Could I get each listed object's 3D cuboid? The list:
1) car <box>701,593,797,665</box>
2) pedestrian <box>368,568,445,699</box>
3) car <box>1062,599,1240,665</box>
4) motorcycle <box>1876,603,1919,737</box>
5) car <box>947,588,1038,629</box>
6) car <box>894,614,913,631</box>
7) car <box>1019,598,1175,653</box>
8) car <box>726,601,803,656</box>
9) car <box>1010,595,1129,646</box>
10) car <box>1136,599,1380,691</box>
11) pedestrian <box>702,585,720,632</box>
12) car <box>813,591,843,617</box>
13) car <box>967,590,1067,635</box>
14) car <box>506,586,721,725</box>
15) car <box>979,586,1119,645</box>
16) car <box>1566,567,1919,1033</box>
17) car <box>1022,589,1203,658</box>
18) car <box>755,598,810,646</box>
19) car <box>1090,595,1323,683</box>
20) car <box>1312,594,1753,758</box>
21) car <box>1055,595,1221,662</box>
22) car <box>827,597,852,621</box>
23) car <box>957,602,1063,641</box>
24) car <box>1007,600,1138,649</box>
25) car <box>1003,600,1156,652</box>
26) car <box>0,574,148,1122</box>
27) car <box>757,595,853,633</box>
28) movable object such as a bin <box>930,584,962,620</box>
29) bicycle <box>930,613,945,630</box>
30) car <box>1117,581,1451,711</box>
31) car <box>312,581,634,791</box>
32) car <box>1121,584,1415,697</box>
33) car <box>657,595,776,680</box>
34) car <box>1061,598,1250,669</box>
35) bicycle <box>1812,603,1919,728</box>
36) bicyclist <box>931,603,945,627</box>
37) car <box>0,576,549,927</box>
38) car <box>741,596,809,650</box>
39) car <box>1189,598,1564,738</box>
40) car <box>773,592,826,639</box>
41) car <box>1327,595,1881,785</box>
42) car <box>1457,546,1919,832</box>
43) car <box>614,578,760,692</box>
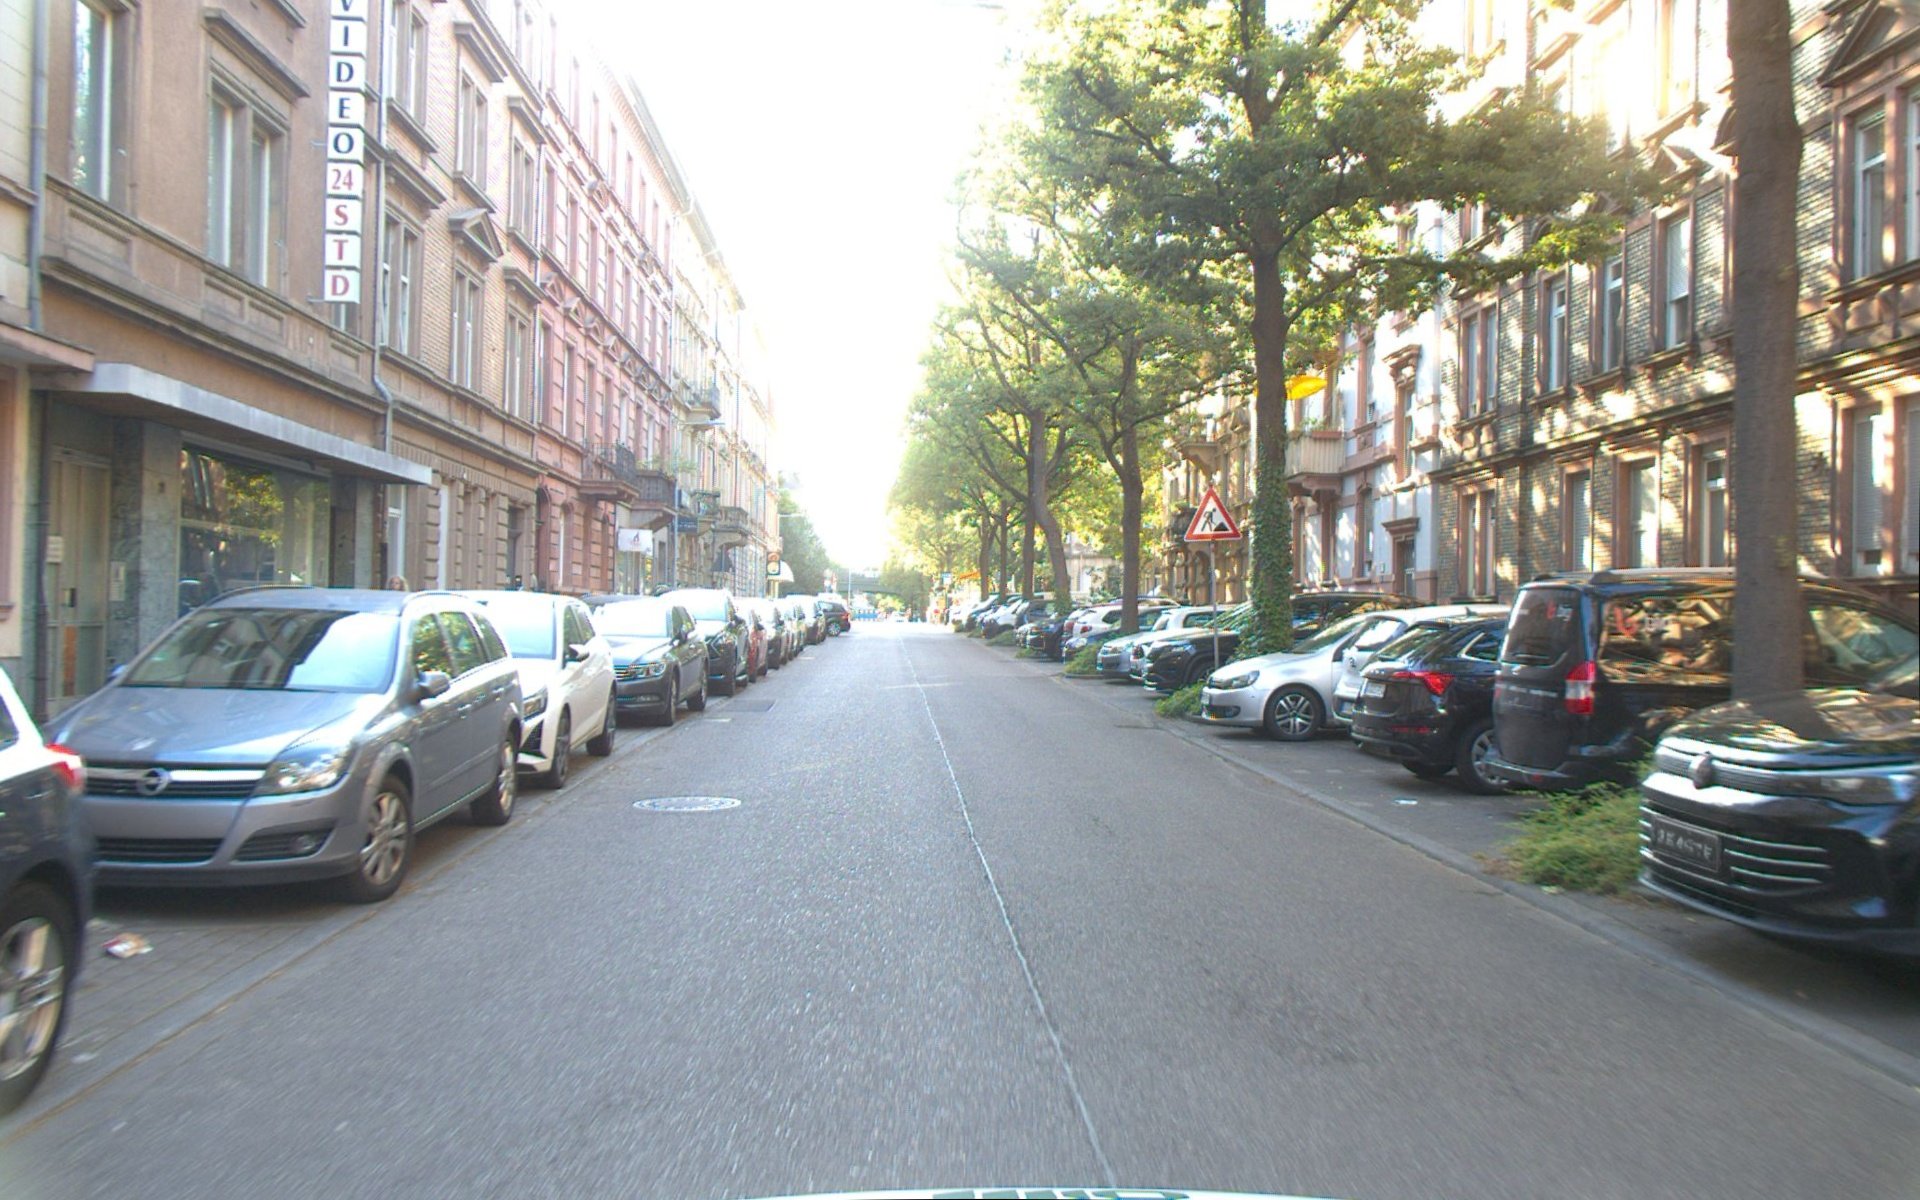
[{"bbox_3d":[-4.813,0.630,38.173,1.785,1.503,4.421,3,0,-3],"label":"car"},{"bbox_3d":[-7.220,0.425,21.630,0.682,1.660,1.017,1,0,-4],"label":"pedestrian"},{"bbox_3d":[4.512,0.756,39.420,3.910,1.488,1.780,1,0,-6],"label":"car"},{"bbox_3d":[10.026,0.711,16.387,0.747,1.342,1.882,1,0,-4],"label":"motorcycle"},{"bbox_3d":[1.767,0.475,91.890,4.874,2.132,2.104,1,0,-3],"label":"car"},{"bbox_3d":[-5.357,2.135,156.191,1.714,1.535,3.998,1,0,-3],"label":"car"},{"bbox_3d":[4.039,0.749,49.376,4.460,1.556,1.999,1,0,-1],"label":"car"},{"bbox_3d":[-5.043,0.713,43.041,1.671,1.346,4.099,1,0,-2],"label":"car"},{"bbox_3d":[3.756,0.687,56.988,3.811,1.678,1.722,1,0,-8],"label":"car"},{"bbox_3d":[5.294,0.781,29.692,4.017,1.495,1.800,1,0,-2],"label":"car"},{"bbox_3d":[-10.416,0.360,69.172,0.628,1.921,0.589,1,0,-18],"label":"pedestrian"},{"bbox_3d":[-7.842,0.214,98.409,1.730,1.462,4.297,1,0,-4],"label":"car"},{"bbox_3d":[2.712,0.576,79.144,4.525,2.049,1.998,1,0,-5],"label":"car"},{"bbox_3d":[-4.146,0.612,20.501,1.825,1.498,4.487,1,0,-2],"label":"car"},{"bbox_3d":[3.271,0.608,61.545,4.990,1.974,2.157,1,-4,-3],"label":"car"},{"bbox_3d":[5.456,0.654,7.249,4.825,1.661,2.076,-2,0,-6],"label":"car"},{"bbox_3d":[4.044,0.603,44.301,4.555,1.732,1.879,-1,0,-6],"label":"car"},{"bbox_3d":[-5.778,0.706,54.248,1.550,1.499,3.998,1,0,-3],"label":"car"},{"bbox_3d":[4.741,0.739,32.145,4.140,1.563,1.799,1,0,-6],"label":"car"},{"bbox_3d":[5.772,0.747,16.921,3.910,1.521,1.685,1,0,-6],"label":"car"},{"bbox_3d":[4.493,0.722,42.017,3.910,1.618,1.780,1,0,-6],"label":"car"},{"bbox_3d":[-8.335,0.626,113.945,1.637,1.557,3.996,2,-1,-5],"label":"car"},{"bbox_3d":[1.958,0.820,65.285,3.915,1.500,1.777,0,0,-10],"label":"car"},{"bbox_3d":[3.686,0.791,54.535,4.027,1.529,1.808,1,0,-7],"label":"car"},{"bbox_3d":[3.742,0.818,52.361,4.569,1.529,1.930,1,0,-6],"label":"car"},{"bbox_3d":[-3.393,0.663,3.202,1.712,1.498,4.241,1,0,-3],"label":"car"},{"bbox_3d":[-6.571,0.589,69.946,3.913,1.556,1.822,1,0,-9],"label":"car"},{"bbox_3d":[-1.084,0.200,131.965,1.951,2.747,3.113,1,-1,10],"label":"movable object such as a bin"},{"bbox_3d":[-1.344,1.265,99.035,0.787,0.985,2.107,2,0,-3],"label":"bicycle"},{"bbox_3d":[4.556,0.654,23.697,4.385,1.685,1.891,1,-2,-1],"label":"car"},{"bbox_3d":[-3.931,0.621,14.043,1.722,1.498,4.085,1,0,-4],"label":"car"},{"bbox_3d":[4.959,0.664,26.990,4.387,1.685,1.890,1,-2,-4],"label":"car"},{"bbox_3d":[-4.576,0.666,31.634,1.785,1.450,4.311,3,0,-3],"label":"car"},{"bbox_3d":[4.297,0.713,36.696,3.908,1.412,1.677,-2,0,-4],"label":"car"},{"bbox_3d":[10.379,0.708,18.738,0.360,1.342,1.882,1,0,-4],"label":"bicycle"},{"bbox_3d":[-1.323,0.917,98.908,0.787,1.407,0.984,2,-1,-4],"label":"bicyclist"},{"bbox_3d":[-3.675,0.644,9.300,1.849,1.469,4.538,1,0,-4],"label":"car"},{"bbox_3d":[-5.292,0.646,47.711,1.671,1.464,3.957,1,0,-2],"label":"car"},{"bbox_3d":[4.762,0.761,19.253,3.907,1.482,1.686,1,0,-2],"label":"car"},{"bbox_3d":[-5.712,0.532,59.138,1.615,1.498,3.998,4,0,-3],"label":"car"},{"bbox_3d":[5.472,0.718,14.413,4.063,1.480,1.935,-1,0,-4],"label":"car"},{"bbox_3d":[5.859,0.595,11.779,4.041,1.819,1.945,1,0,-1],"label":"car"},{"bbox_3d":[-4.364,0.524,27.043,1.785,1.628,4.311,3,0,-3],"label":"car"}]
